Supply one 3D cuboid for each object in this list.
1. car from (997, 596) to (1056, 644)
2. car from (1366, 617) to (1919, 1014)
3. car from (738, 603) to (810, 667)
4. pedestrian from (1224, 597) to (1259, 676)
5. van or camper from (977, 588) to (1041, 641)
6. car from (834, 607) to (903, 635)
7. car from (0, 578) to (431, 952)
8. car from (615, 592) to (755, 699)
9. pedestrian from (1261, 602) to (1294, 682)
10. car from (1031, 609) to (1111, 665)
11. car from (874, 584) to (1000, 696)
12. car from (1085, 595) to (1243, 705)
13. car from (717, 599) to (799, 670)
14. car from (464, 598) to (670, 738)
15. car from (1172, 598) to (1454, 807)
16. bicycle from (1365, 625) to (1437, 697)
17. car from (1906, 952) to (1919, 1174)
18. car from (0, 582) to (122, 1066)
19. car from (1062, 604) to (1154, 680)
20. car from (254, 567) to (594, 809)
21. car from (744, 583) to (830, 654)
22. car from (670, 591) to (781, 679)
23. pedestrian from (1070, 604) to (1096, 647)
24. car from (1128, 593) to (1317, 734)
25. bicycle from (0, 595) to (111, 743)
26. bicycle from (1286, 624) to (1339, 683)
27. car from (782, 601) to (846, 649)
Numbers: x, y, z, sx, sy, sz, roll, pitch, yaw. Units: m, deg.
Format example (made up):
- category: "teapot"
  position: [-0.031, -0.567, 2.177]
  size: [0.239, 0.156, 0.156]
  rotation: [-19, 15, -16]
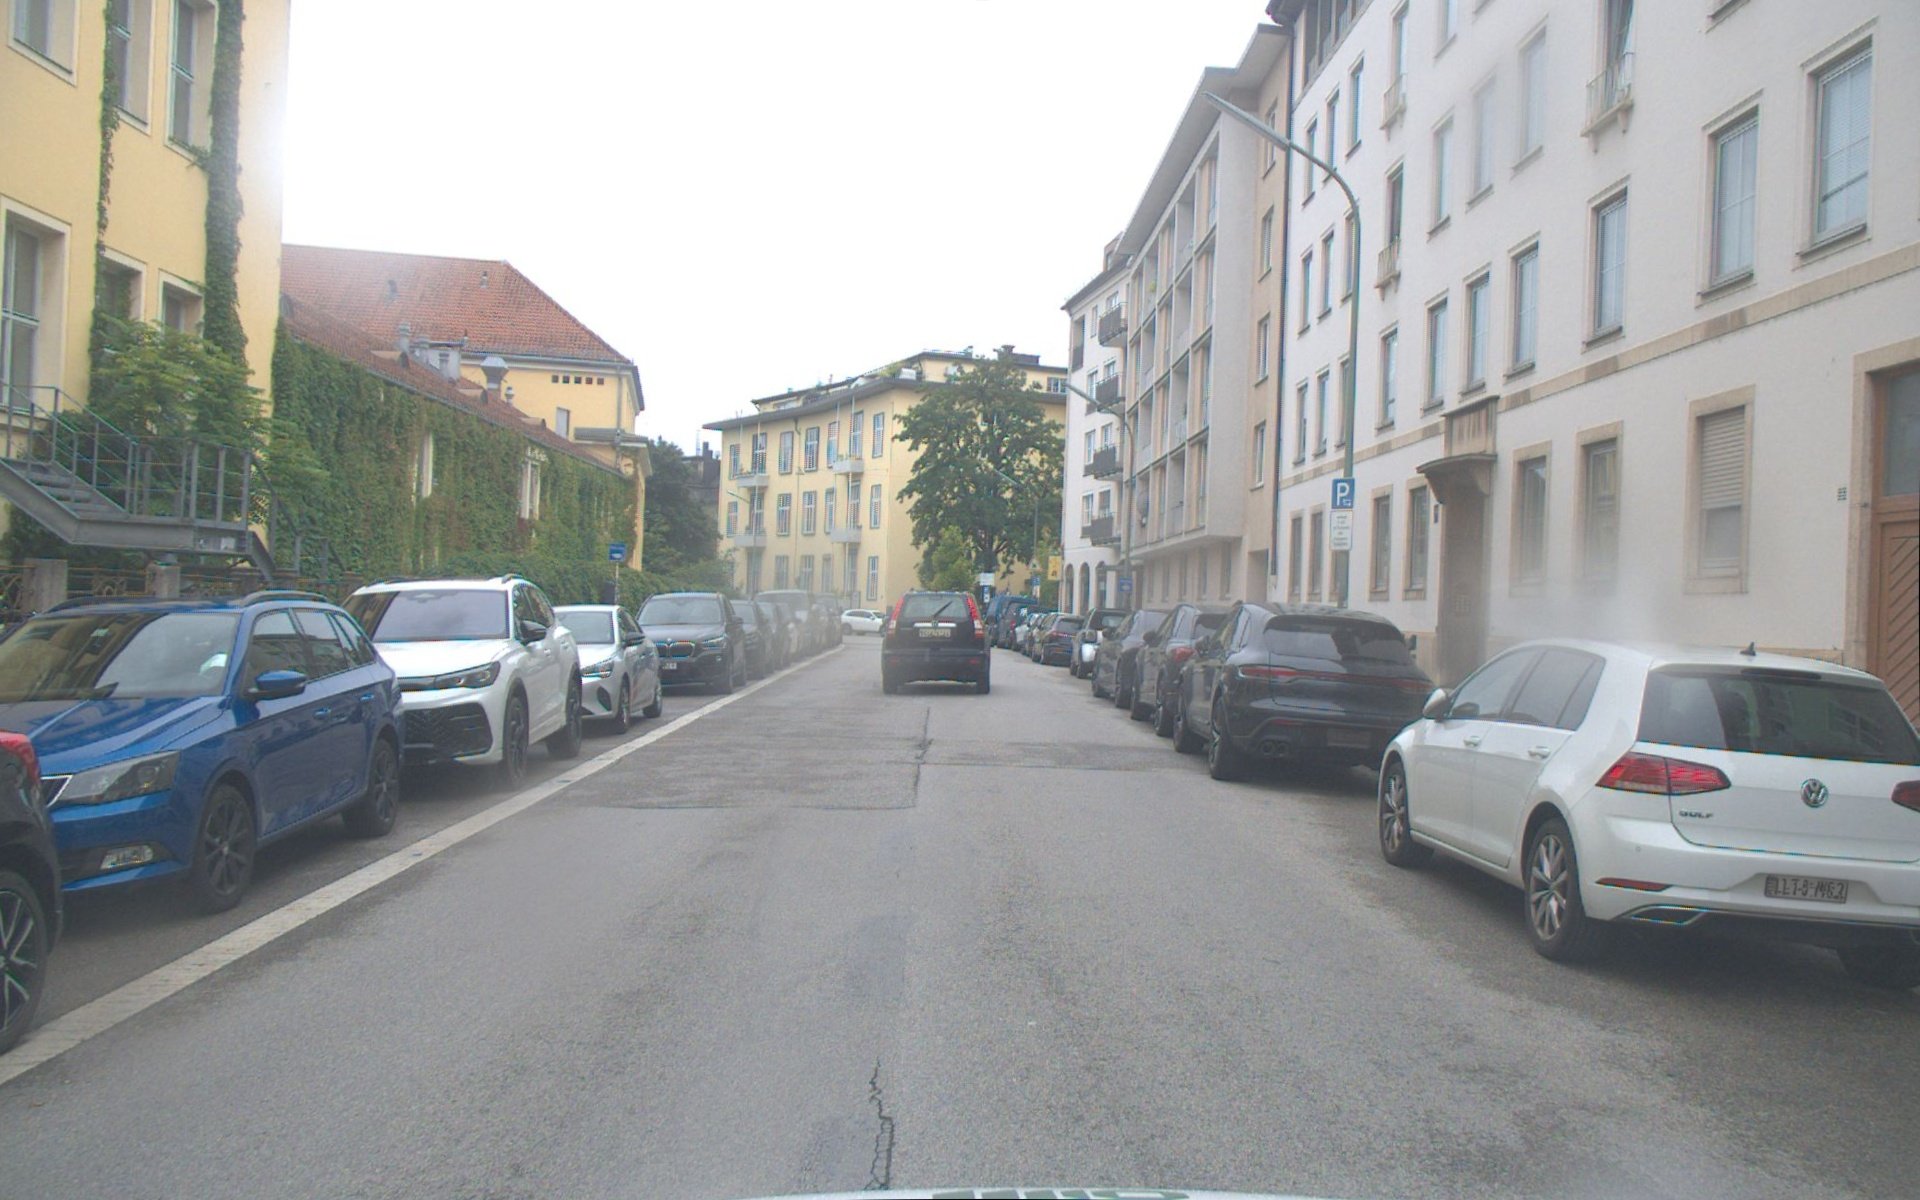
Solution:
- category: "car"
  position: [2.729, 0.779, 68.544]
  size: [1.925, 1.848, 4.932]
  rotation: [2, 0, -3]
- category: "car"
  position: [3.529, 0.912, 8.760]
  size: [1.658, 1.489, 4.083]
  rotation: [4, 0, 0]
- category: "car"
  position: [-4.777, 0.879, 42.893]
  size: [1.547, 1.518, 3.728]
  rotation: [3, 0, -3]
- category: "pedestrian"
  position: [6.113, 0.793, 35.923]
  size: [0.584, 1.683, 0.630]
  rotation: [2, 0, -1]
- category: "van or camper"
  position: [2.154, 0.613, 74.195]
  size: [2.021, 2.270, 5.430]
  rotation: [2, 0, -7]
- category: "car"
  position: [-5.830, 1.328, 105.410]
  size: [3.908, 1.646, 1.998]
  rotation: [2, 0, 26]
- category: "car"
  position: [-4.215, 0.682, 8.796]
  size: [1.646, 1.531, 3.972]
  rotation: [-1, 0, -2]
- category: "car"
  position: [-4.432, 0.686, 27.191]
  size: [1.746, 1.565, 4.193]
  rotation: [2, 0, -3]
- category: "pedestrian"
  position: [6.460, 0.847, 33.658]
  size: [0.520, 1.612, 0.560]
  rotation: [2, 0, -1]
- category: "car"
  position: [3.106, 1.022, 47.131]
  size: [1.760, 1.445, 4.480]
  rotation: [2, 0, -3]
- category: "car"
  position: [-0.356, 0.633, 28.431]
  size: [1.954, 1.724, 4.380]
  rotation: [2, 0, 0]
- category: "car"
  position: [3.178, 0.725, 26.643]
  size: [1.818, 1.571, 4.815]
  rotation: [1, 0, -1]
- category: "car"
  position: [-4.571, 0.747, 37.861]
  size: [1.547, 1.481, 3.902]
  rotation: [2, 0, -3]
- category: "car"
  position: [-4.452, 0.704, 19.264]
  size: [1.646, 1.451, 3.892]
  rotation: [0, 0, -3]
- category: "car"
  position: [3.189, 0.848, 15.813]
  size: [1.742, 1.612, 4.330]
  rotation: [4, 0, 1]
- category: "bicycle"
  position: [7.521, 1.024, 28.285]
  size: [0.645, 1.146, 2.028]
  rotation: [1, 0, -1]
- category: "car"
  position: [3.666, 0.848, 2.661]
  size: [1.659, 1.610, 4.080]
  rotation: [4, 0, -4]
- category: "car"
  position: [-3.820, 0.717, 3.966]
  size: [1.646, 1.522, 3.984]
  rotation: [-1, 0, -1]
- category: "car"
  position: [3.256, 0.898, 37.036]
  size: [1.637, 1.561, 3.880]
  rotation: [2, 0, -1]
- category: "car"
  position: [-4.218, 0.603, 13.721]
  size: [1.647, 1.662, 4.353]
  rotation: [-1, 0, -4]
- category: "car"
  position: [-4.976, 0.499, 48.195]
  size: [1.953, 1.908, 4.758]
  rotation: [2, 0, 0]
- category: "car"
  position: [-4.586, 0.638, 32.863]
  size: [1.746, 1.565, 4.146]
  rotation: [2, 0, -3]
- category: "pedestrian"
  position: [4.999, 1.019, 67.228]
  size: [0.880, 1.717, 1.319]
  rotation: [1, -1, -2]
- category: "car"
  position: [3.258, 0.734, 21.284]
  size: [1.742, 1.612, 4.271]
  rotation: [1, 0, 0]
- category: "bicycle"
  position: [-8.314, 0.586, 14.781]
  size: [0.565, 1.209, 1.561]
  rotation: [5, 0, 0]
- category: "bicycle"
  position: [7.484, 1.118, 35.192]
  size: [0.645, 1.183, 2.028]
  rotation: [1, 0, -1]
- category: "car"
  position: [-4.747, 0.775, 54.109]
  size: [1.666, 1.447, 4.424]
  rotation: [2, 0, 0]
